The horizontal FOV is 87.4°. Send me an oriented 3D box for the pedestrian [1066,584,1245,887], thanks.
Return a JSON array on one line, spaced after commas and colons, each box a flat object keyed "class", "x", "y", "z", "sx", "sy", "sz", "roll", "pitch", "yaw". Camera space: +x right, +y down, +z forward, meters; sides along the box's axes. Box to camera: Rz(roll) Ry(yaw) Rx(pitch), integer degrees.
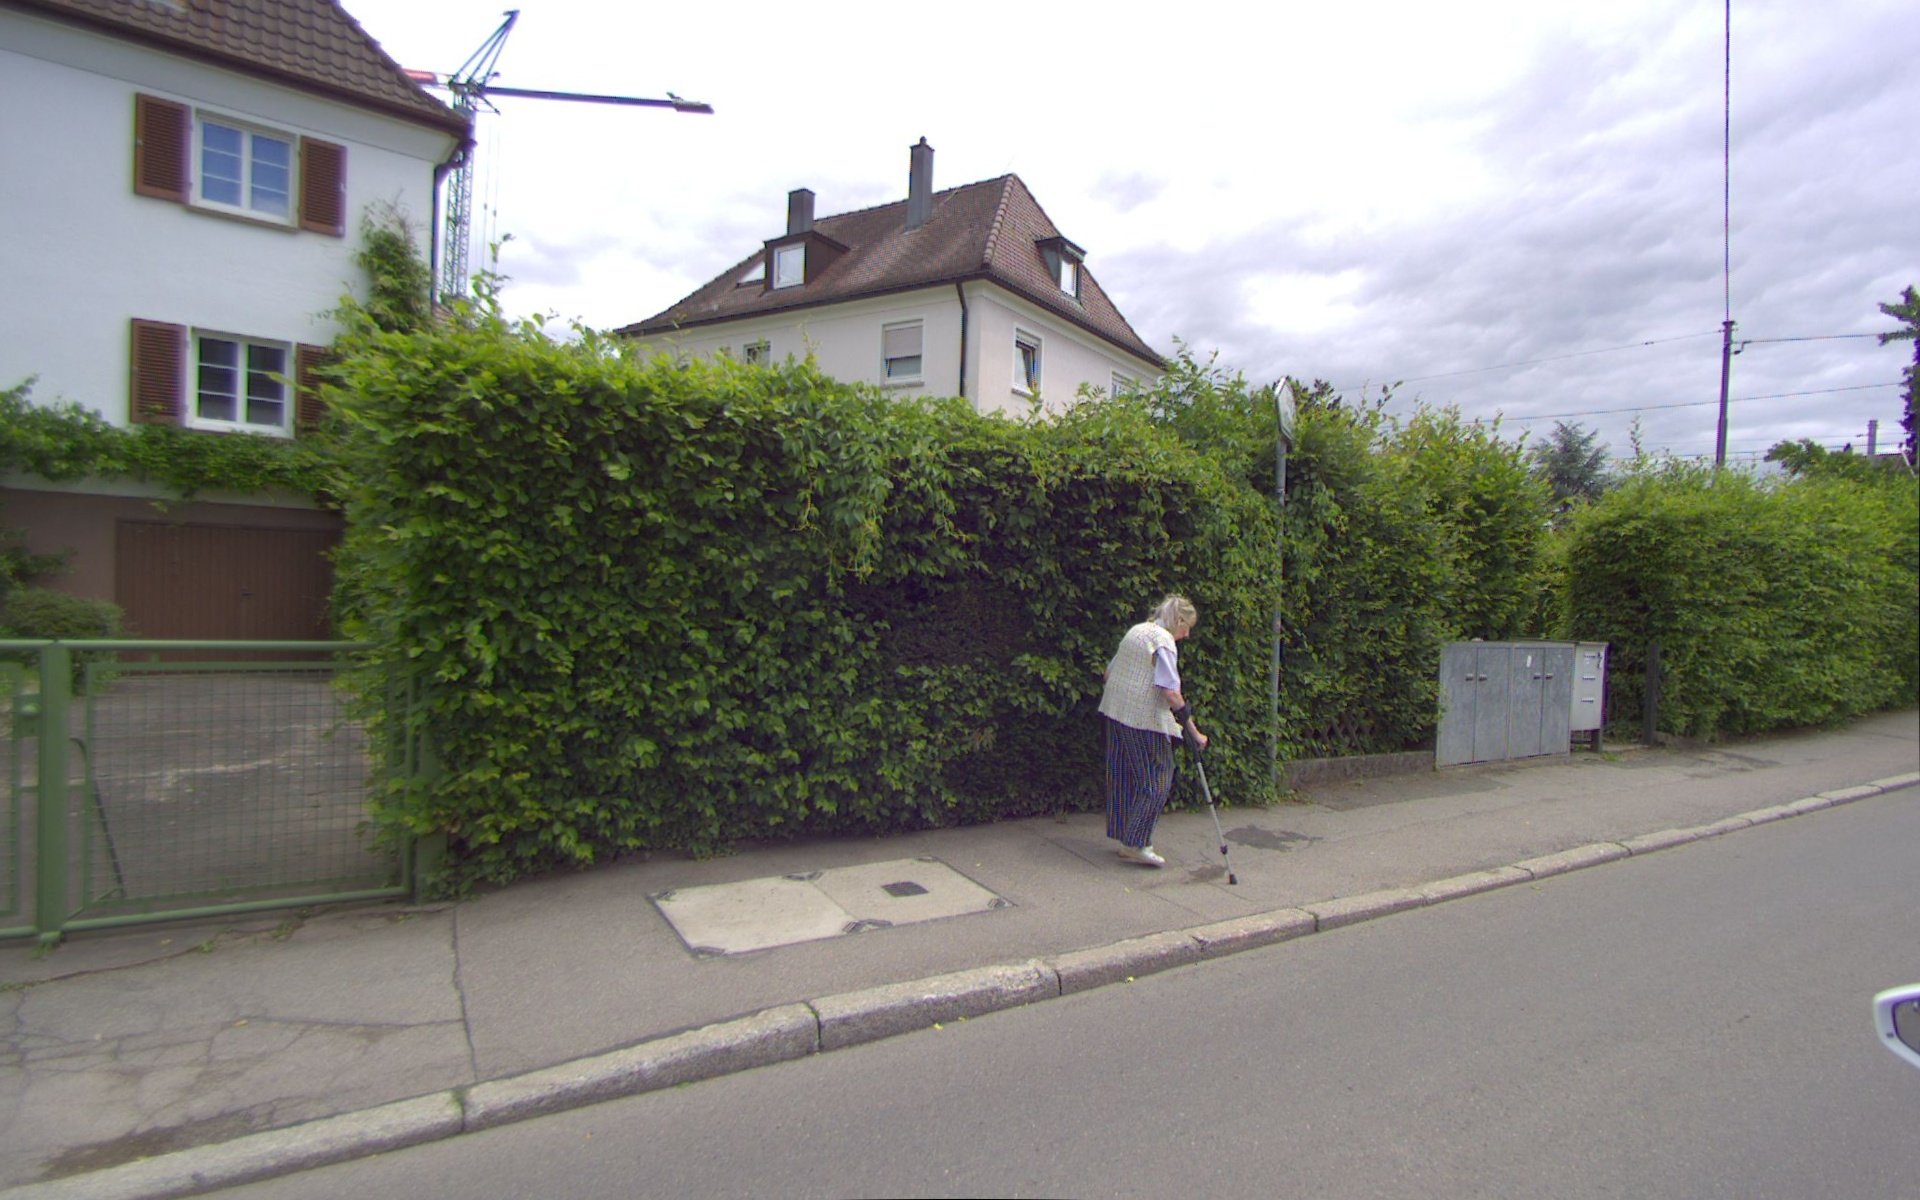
[{"class": "pedestrian", "x": 1.098, "y": 0.710, "z": 5.684, "sx": 0.541, "sy": 1.551, "sz": 0.739, "roll": 0, "pitch": 4, "yaw": -45}]
